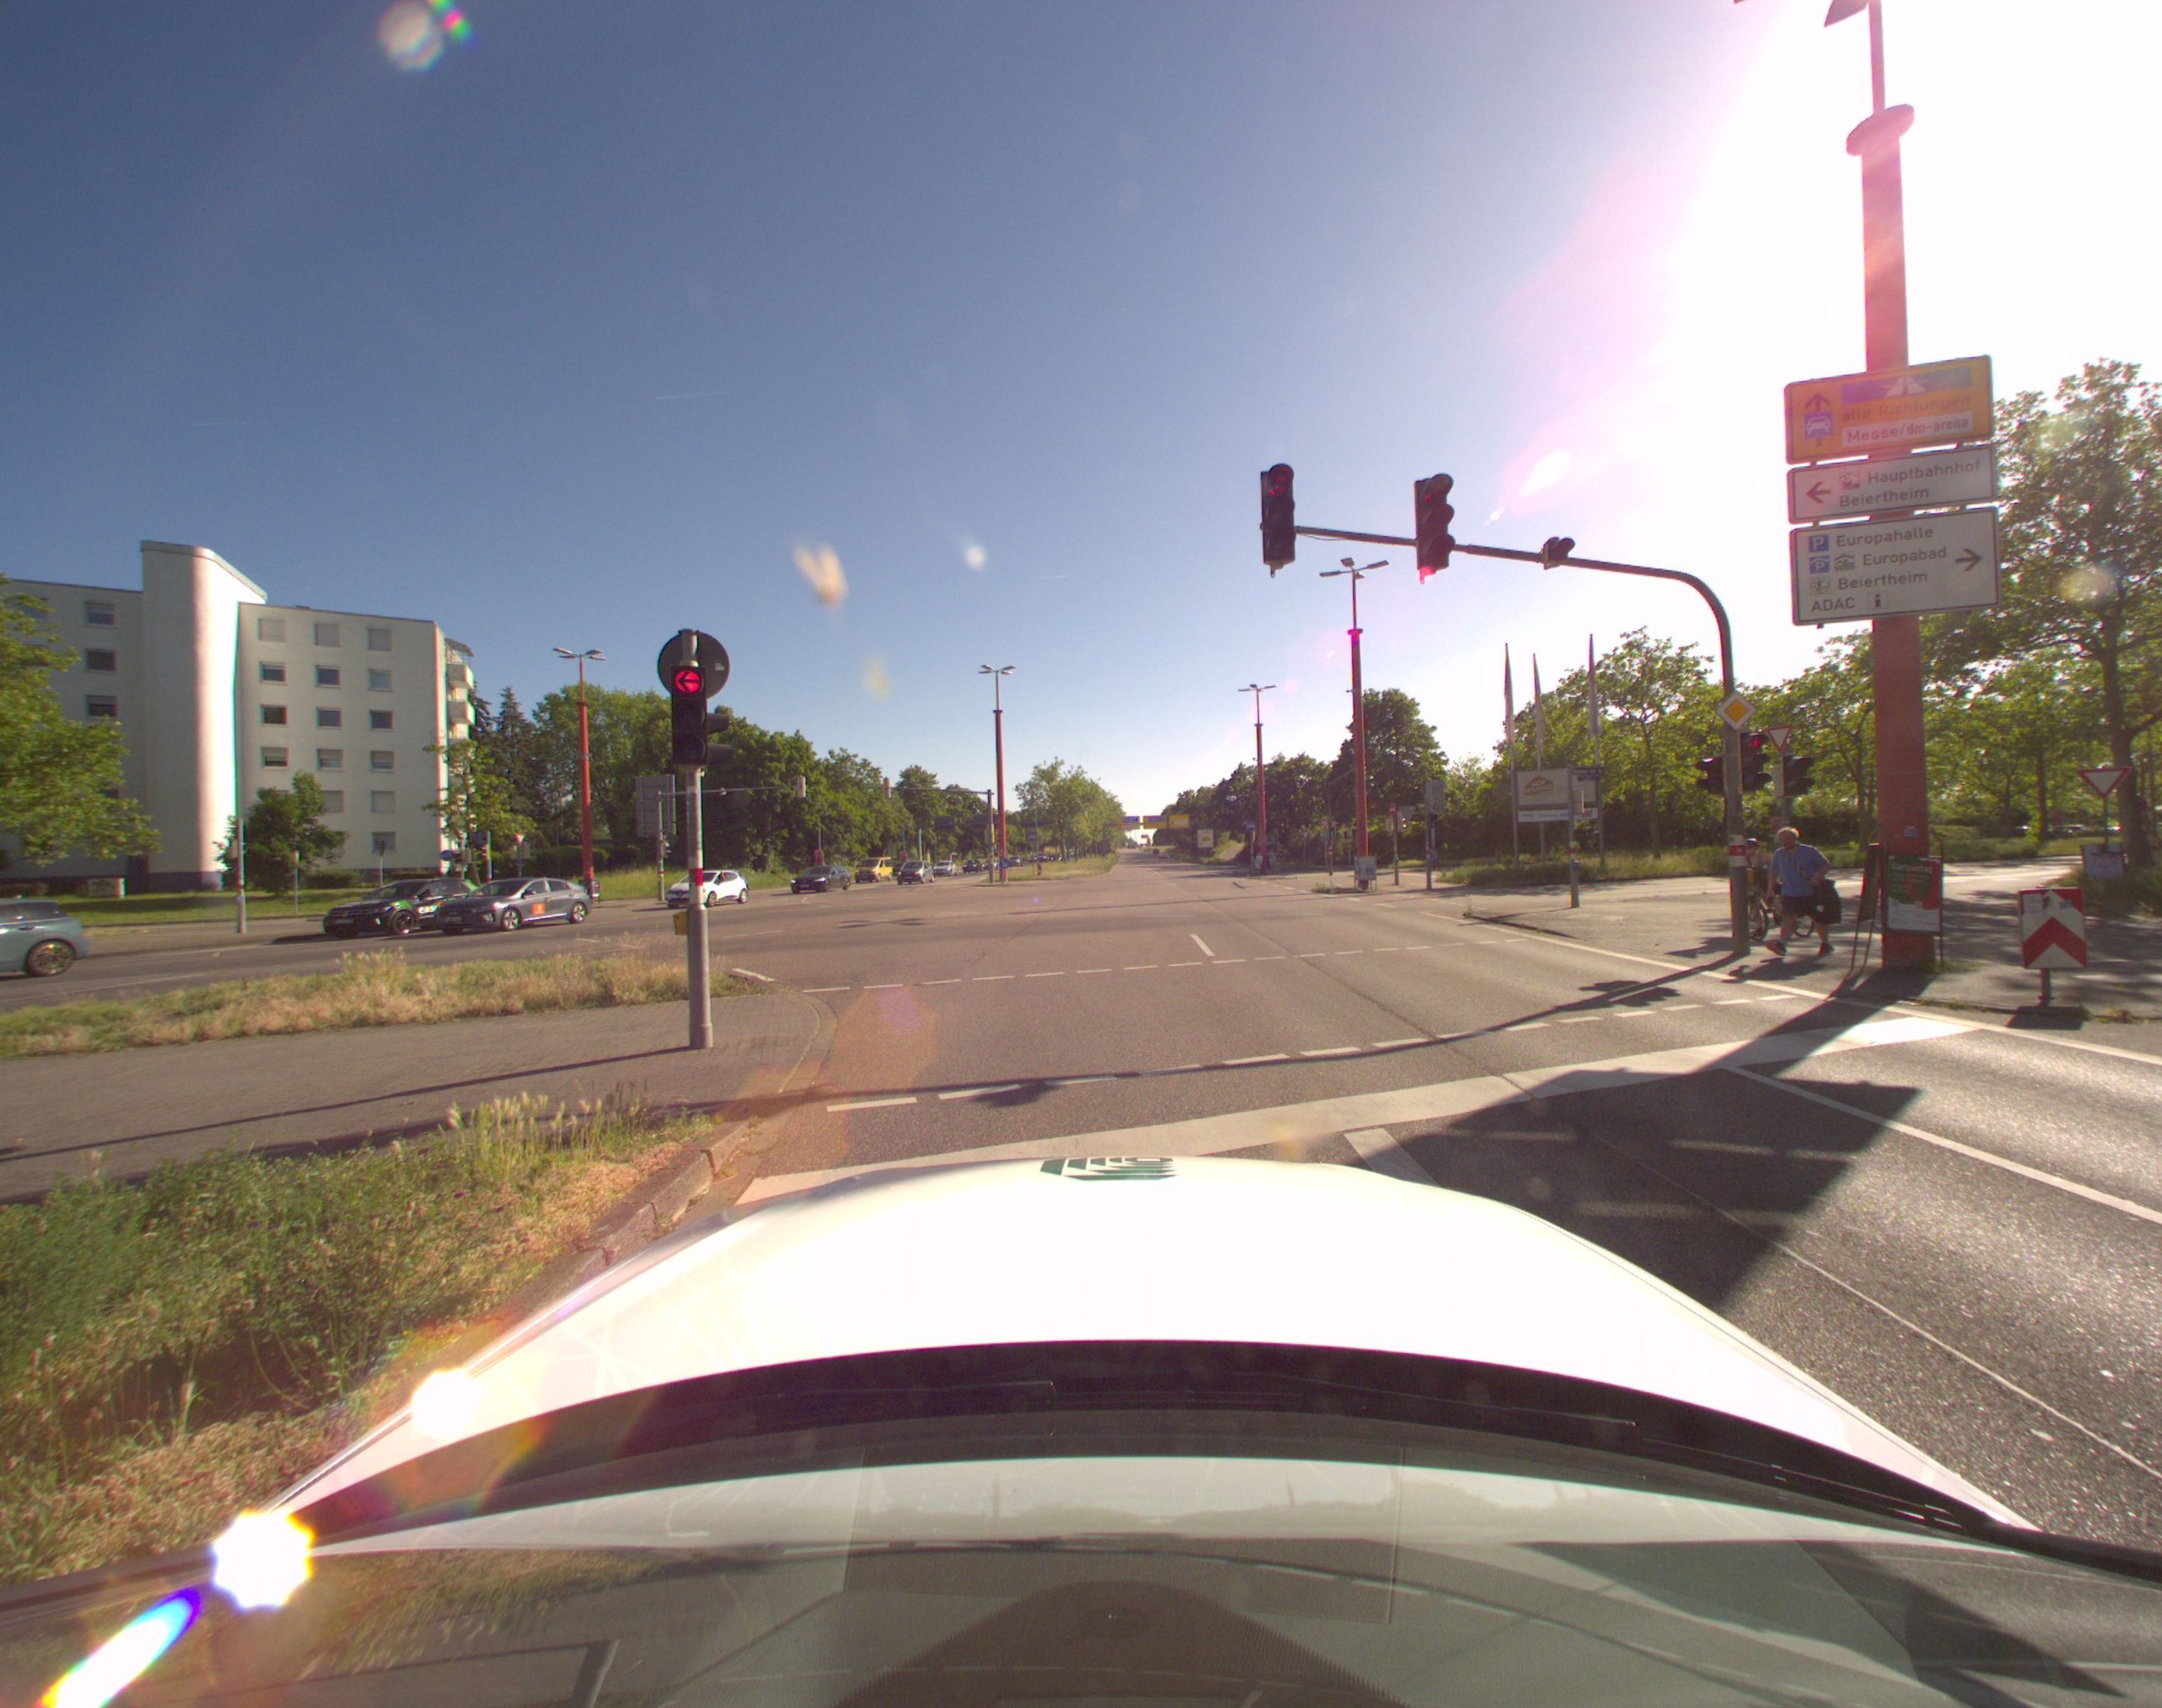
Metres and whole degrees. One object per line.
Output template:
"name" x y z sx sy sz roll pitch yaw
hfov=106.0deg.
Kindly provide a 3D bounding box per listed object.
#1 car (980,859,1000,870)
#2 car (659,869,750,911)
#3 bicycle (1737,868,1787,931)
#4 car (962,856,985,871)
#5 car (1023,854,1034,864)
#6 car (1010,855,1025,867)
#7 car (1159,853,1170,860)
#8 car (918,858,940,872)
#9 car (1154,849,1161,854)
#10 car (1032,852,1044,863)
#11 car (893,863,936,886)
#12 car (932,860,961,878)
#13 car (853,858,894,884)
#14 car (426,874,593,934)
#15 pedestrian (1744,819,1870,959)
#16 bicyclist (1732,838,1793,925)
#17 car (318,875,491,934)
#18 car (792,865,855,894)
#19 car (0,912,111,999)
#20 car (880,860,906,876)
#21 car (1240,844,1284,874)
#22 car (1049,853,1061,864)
"car" -11.316 1.321 101.721 1.997 1.308 4.000 -2 0 0
"car" -15.131 1.409 32.973 1.598 1.459 3.954 -2 0 4
"bicycle" 11.027 0.709 13.222 0.552 0.878 2.182 -2 0 38
"car" -11.735 1.071 89.192 1.696 1.558 3.807 -1 -1 4
"car" -11.127 1.138 172.592 1.997 2.014 4.000 -1 -1 0
"car" -9.370 0.982 120.182 1.618 1.739 4.004 -2 0 4
"car" 17.349 0.513 169.528 2.047 1.371 4.393 -2 0 2
"car" -16.547 1.175 88.725 1.622 1.450 3.437 -1 -1 3
"car" 21.385 -0.776 228.689 1.730 1.341 3.084 -2 0 3
"car" -8.151 0.644 155.092 1.997 2.014 4.000 -1 -1 0
"car" -10.665 1.291 52.545 1.693 1.421 4.003 1 -1 3
"car" -12.336 1.350 74.856 1.696 1.596 4.004 -1 -1 4
"car" -16.690 1.317 65.738 1.750 1.987 4.793 -1 -1 3
"car" -15.981 1.339 23.086 1.542 1.377 4.265 -2 0 3
"pedestrian" 9.810 0.450 11.031 0.892 1.788 0.896 -1 0 -13
"bicyclist" 10.989 0.426 13.147 0.698 1.341 0.747 -2 0 40
"car" -19.336 1.386 23.529 1.537 1.433 3.889 -3 -1 3
"car" -13.858 1.334 44.122 1.621 1.368 4.801 -2 0 4
"car" -19.221 1.779 13.374 1.424 1.388 4.144 -1 -1 4
"car" -19.777 1.467 85.757 1.989 1.638 3.996 -1 -1 -2
"car" 11.956 0.309 53.711 1.975 1.887 4.023 -2 0 25
"car" -4.296 0.698 135.491 1.649 1.747 4.005 -1 -1 4
